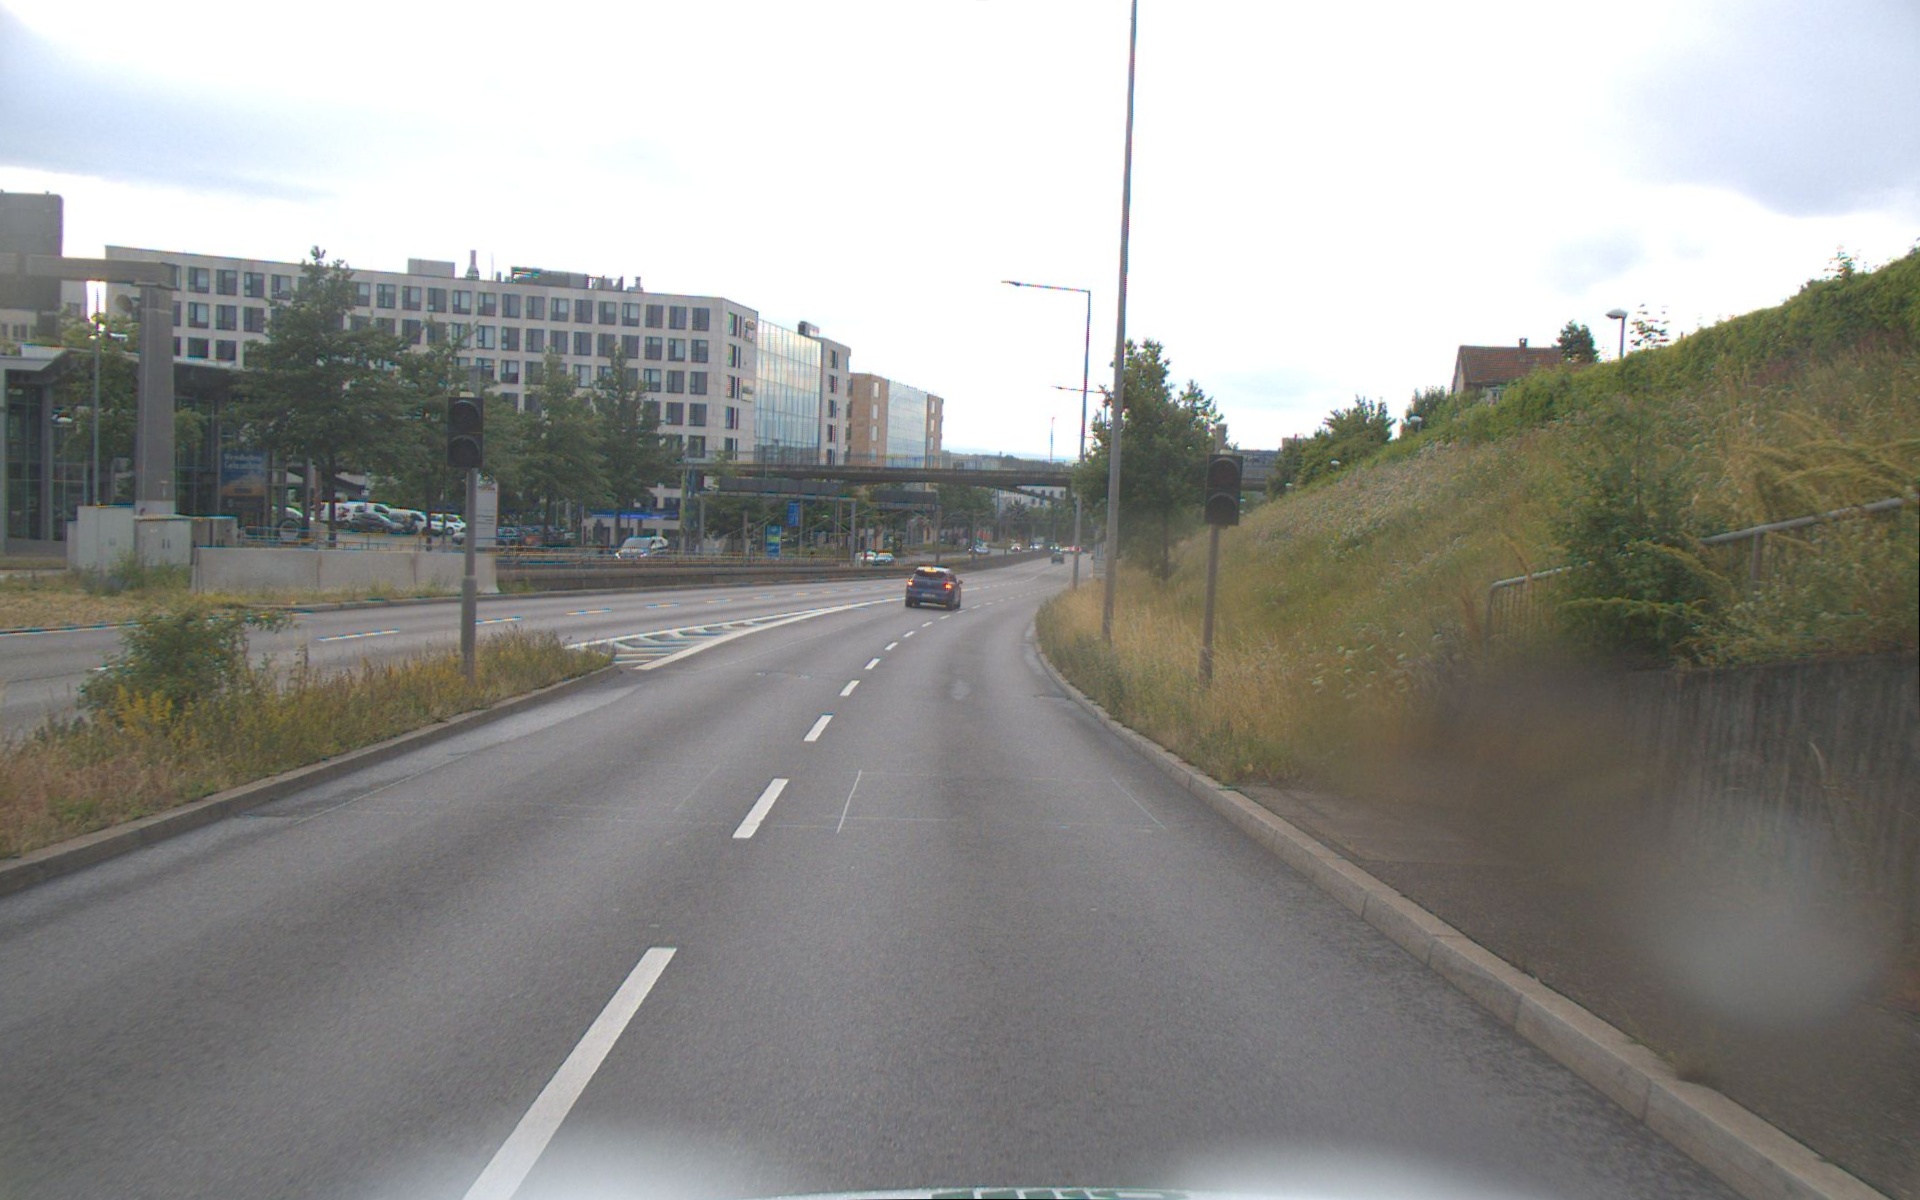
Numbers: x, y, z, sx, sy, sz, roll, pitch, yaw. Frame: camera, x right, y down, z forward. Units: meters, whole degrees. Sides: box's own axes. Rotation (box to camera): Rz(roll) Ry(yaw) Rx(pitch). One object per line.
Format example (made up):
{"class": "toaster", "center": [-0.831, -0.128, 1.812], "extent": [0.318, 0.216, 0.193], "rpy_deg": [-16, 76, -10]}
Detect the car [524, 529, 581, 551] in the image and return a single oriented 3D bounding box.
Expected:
{"class": "car", "center": [-32.353, -4.773, 131.220], "extent": [3.904, 1.377, 1.851], "rpy_deg": [5, 2, 8]}

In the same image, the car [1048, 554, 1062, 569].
{"class": "car", "center": [13.903, -5.625, 242.647], "extent": [1.824, 1.779, 4.004], "rpy_deg": [5, 4, 3]}

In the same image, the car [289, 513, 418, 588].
{"class": "car", "center": [-15.207, -1.293, 41.643], "extent": [1.653, 1.617, 3.552], "rpy_deg": [5, 4, 4]}

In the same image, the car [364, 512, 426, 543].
{"class": "car", "center": [-42.705, -5.451, 125.012], "extent": [3.903, 2.048, 2.002], "rpy_deg": [4, 1, 11]}

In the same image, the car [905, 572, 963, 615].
{"class": "car", "center": [-0.923, -0.253, 60.129], "extent": [1.712, 1.444, 3.481], "rpy_deg": [1, 1, 5]}

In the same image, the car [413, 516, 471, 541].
{"class": "car", "center": [-41.565, -5.738, 132.704], "extent": [3.904, 1.678, 2.003], "rpy_deg": [6, 4, 11]}

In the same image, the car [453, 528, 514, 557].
{"class": "car", "center": [-34.244, -4.128, 118.798], "extent": [3.934, 1.679, 1.986], "rpy_deg": [4, 2, -24]}

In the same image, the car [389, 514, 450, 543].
{"class": "car", "center": [-41.587, -5.530, 127.286], "extent": [3.904, 1.907, 2.003], "rpy_deg": [5, 4, 11]}

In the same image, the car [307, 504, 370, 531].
{"class": "car", "center": [-47.593, -6.315, 126.676], "extent": [3.904, 1.678, 2.002], "rpy_deg": [5, 4, 4]}

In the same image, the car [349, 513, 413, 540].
{"class": "car", "center": [-42.819, -5.452, 122.325], "extent": [3.904, 1.678, 2.002], "rpy_deg": [5, 4, 4]}

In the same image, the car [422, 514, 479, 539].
{"class": "car", "center": [-41.647, -5.990, 135.273], "extent": [3.904, 1.678, 2.003], "rpy_deg": [6, 4, 11]}

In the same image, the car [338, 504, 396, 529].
{"class": "car", "center": [-47.637, -6.702, 133.005], "extent": [3.905, 1.678, 1.823], "rpy_deg": [5, 4, 3]}
